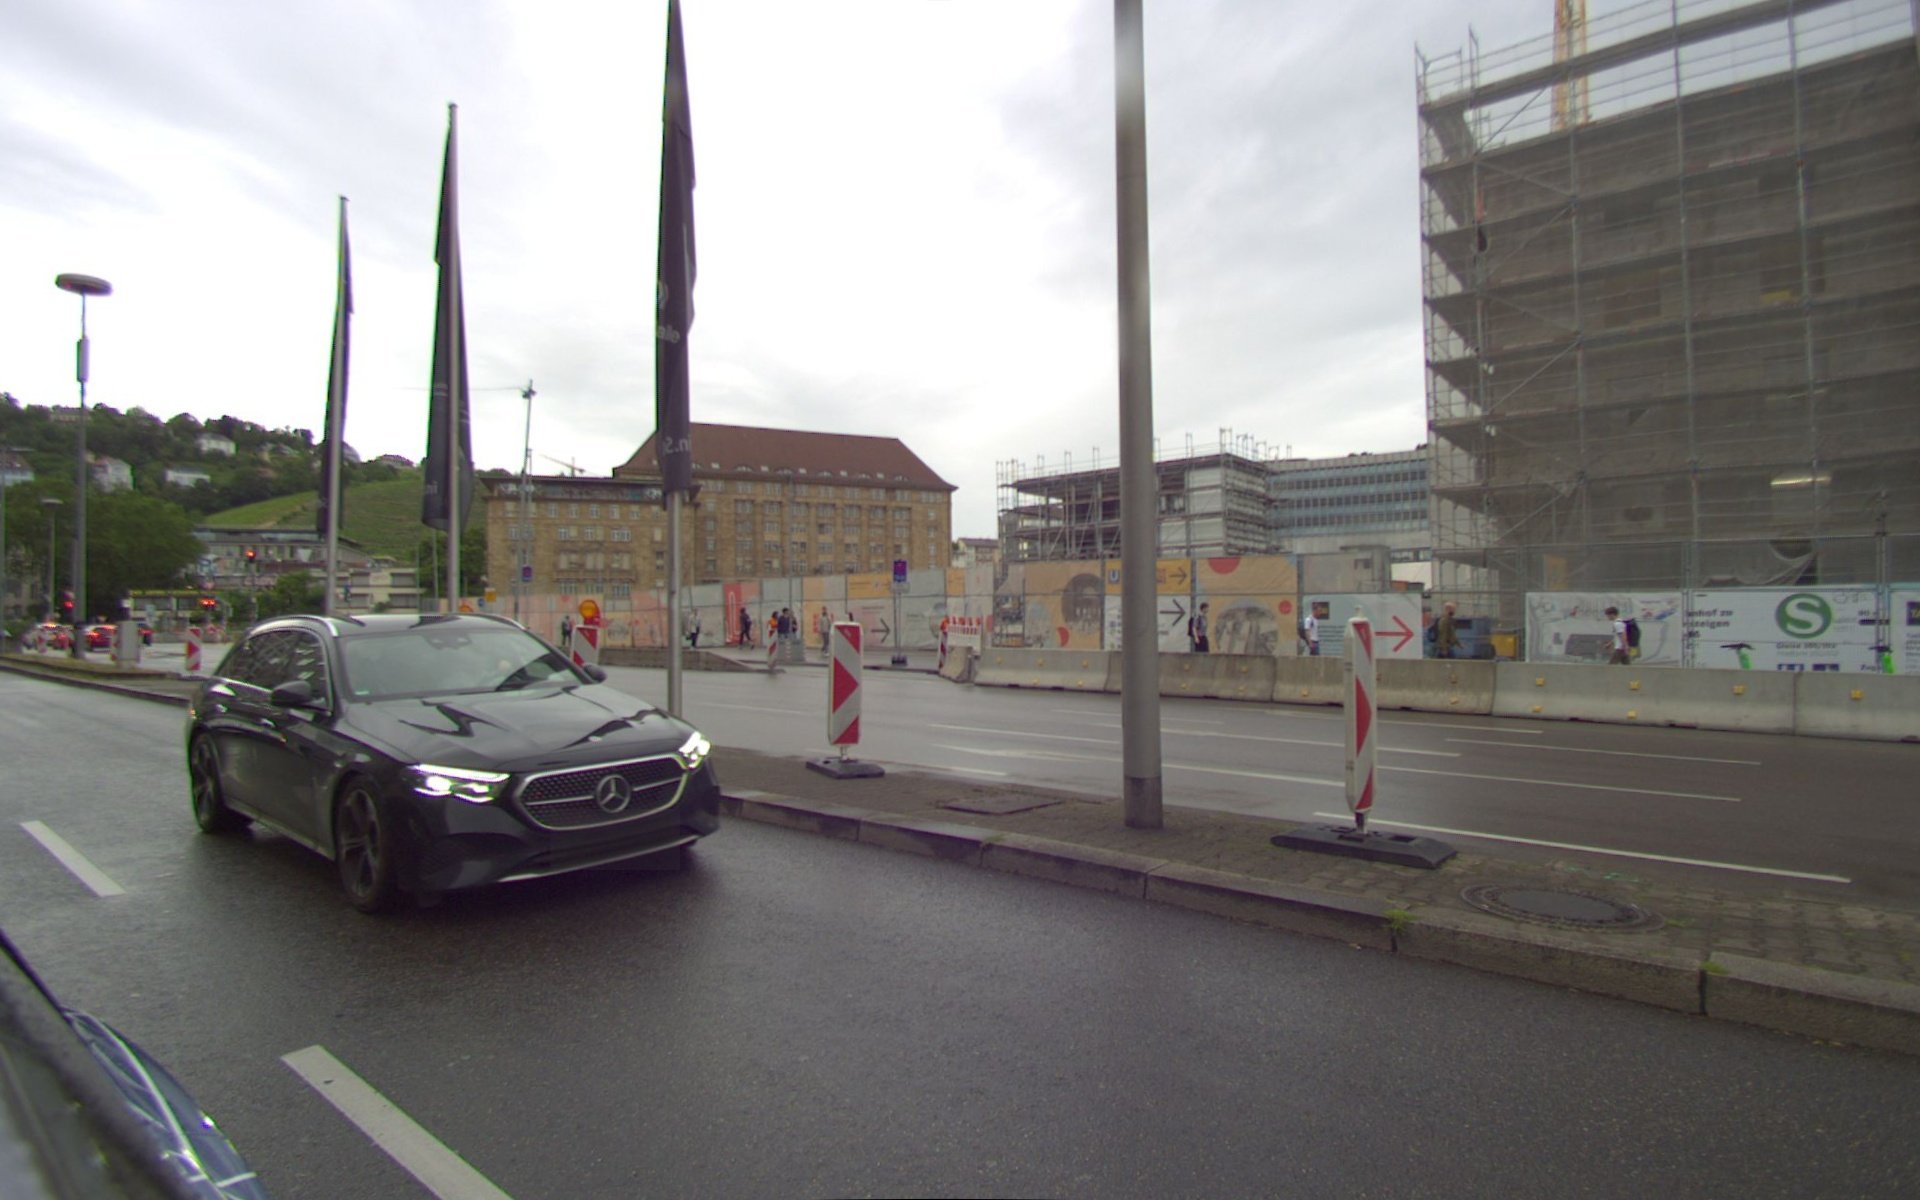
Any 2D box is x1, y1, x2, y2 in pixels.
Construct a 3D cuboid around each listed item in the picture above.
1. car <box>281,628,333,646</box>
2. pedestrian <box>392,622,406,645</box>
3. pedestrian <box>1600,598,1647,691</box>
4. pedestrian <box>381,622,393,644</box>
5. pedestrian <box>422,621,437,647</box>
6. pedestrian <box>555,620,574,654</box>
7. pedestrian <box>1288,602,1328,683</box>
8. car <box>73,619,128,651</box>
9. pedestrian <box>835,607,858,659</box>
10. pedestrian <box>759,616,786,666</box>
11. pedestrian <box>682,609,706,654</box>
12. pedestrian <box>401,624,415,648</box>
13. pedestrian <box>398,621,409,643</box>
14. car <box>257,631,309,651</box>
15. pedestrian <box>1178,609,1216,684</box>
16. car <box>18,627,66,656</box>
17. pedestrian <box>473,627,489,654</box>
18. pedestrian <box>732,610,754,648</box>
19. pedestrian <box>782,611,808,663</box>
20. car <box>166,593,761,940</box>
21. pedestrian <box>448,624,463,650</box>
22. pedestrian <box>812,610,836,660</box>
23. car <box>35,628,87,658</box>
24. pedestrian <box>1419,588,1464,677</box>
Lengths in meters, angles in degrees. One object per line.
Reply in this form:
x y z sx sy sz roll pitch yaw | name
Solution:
-60.314 3.390 93.451 3.934 1.644 2.005 0 -2 -36 | car
-41.192 2.436 74.311 0.544 1.628 0.706 -1 0 41 | pedestrian
13.397 0.885 20.437 0.717 1.850 0.475 -1 0 41 | pedestrian
-44.248 2.542 78.174 0.704 1.628 0.545 -1 0 -35 | pedestrian
-33.909 2.166 64.670 0.544 1.628 0.706 -1 0 41 | pedestrian
-19.592 1.822 50.112 0.544 1.628 0.706 -1 0 41 | pedestrian
8.072 0.975 23.467 0.717 1.850 0.475 -1 0 41 | pedestrian
-48.516 1.953 57.112 3.914 1.707 1.762 -2 -2 41 | car
-4.129 1.181 36.791 0.651 1.850 0.557 -1 0 -29 | pedestrian
-6.711 1.443 36.221 0.704 1.746 0.719 -1 0 -31 | pedestrian
-11.244 1.333 42.792 0.720 1.850 0.656 -1 0 41 | pedestrian
-38.116 2.459 69.859 0.544 1.628 0.706 -1 0 41 | pedestrian
-43.182 2.472 78.536 0.704 1.628 0.545 -1 0 -36 | pedestrian
-69.012 4.120 103.133 4.136 1.871 1.833 -1 0 -44 | car
5.996 1.168 25.578 0.717 1.850 0.579 -1 0 41 | pedestrian
-59.769 2.678 65.872 3.913 1.707 1.763 -1 0 40 | car
-28.621 2.415 60.475 0.544 1.628 0.706 -1 0 41 | pedestrian
-9.401 1.242 43.830 0.544 1.628 0.706 -1 0 41 | pedestrian
-5.969 1.317 36.639 0.704 1.850 0.719 -1 0 -31 | pedestrian
-3.457 0.738 6.554 4.585 1.480 1.836 -1 0 41 | car
-31.651 2.304 63.489 0.544 1.628 0.706 -1 0 41 | pedestrian
-4.919 1.251 36.640 0.704 1.757 0.565 -1 0 -29 | pedestrian
-54.620 2.590 61.462 3.913 1.707 1.763 -1 0 40 | car
10.163 0.672 21.362 0.717 1.850 0.475 -1 0 41 | pedestrian
